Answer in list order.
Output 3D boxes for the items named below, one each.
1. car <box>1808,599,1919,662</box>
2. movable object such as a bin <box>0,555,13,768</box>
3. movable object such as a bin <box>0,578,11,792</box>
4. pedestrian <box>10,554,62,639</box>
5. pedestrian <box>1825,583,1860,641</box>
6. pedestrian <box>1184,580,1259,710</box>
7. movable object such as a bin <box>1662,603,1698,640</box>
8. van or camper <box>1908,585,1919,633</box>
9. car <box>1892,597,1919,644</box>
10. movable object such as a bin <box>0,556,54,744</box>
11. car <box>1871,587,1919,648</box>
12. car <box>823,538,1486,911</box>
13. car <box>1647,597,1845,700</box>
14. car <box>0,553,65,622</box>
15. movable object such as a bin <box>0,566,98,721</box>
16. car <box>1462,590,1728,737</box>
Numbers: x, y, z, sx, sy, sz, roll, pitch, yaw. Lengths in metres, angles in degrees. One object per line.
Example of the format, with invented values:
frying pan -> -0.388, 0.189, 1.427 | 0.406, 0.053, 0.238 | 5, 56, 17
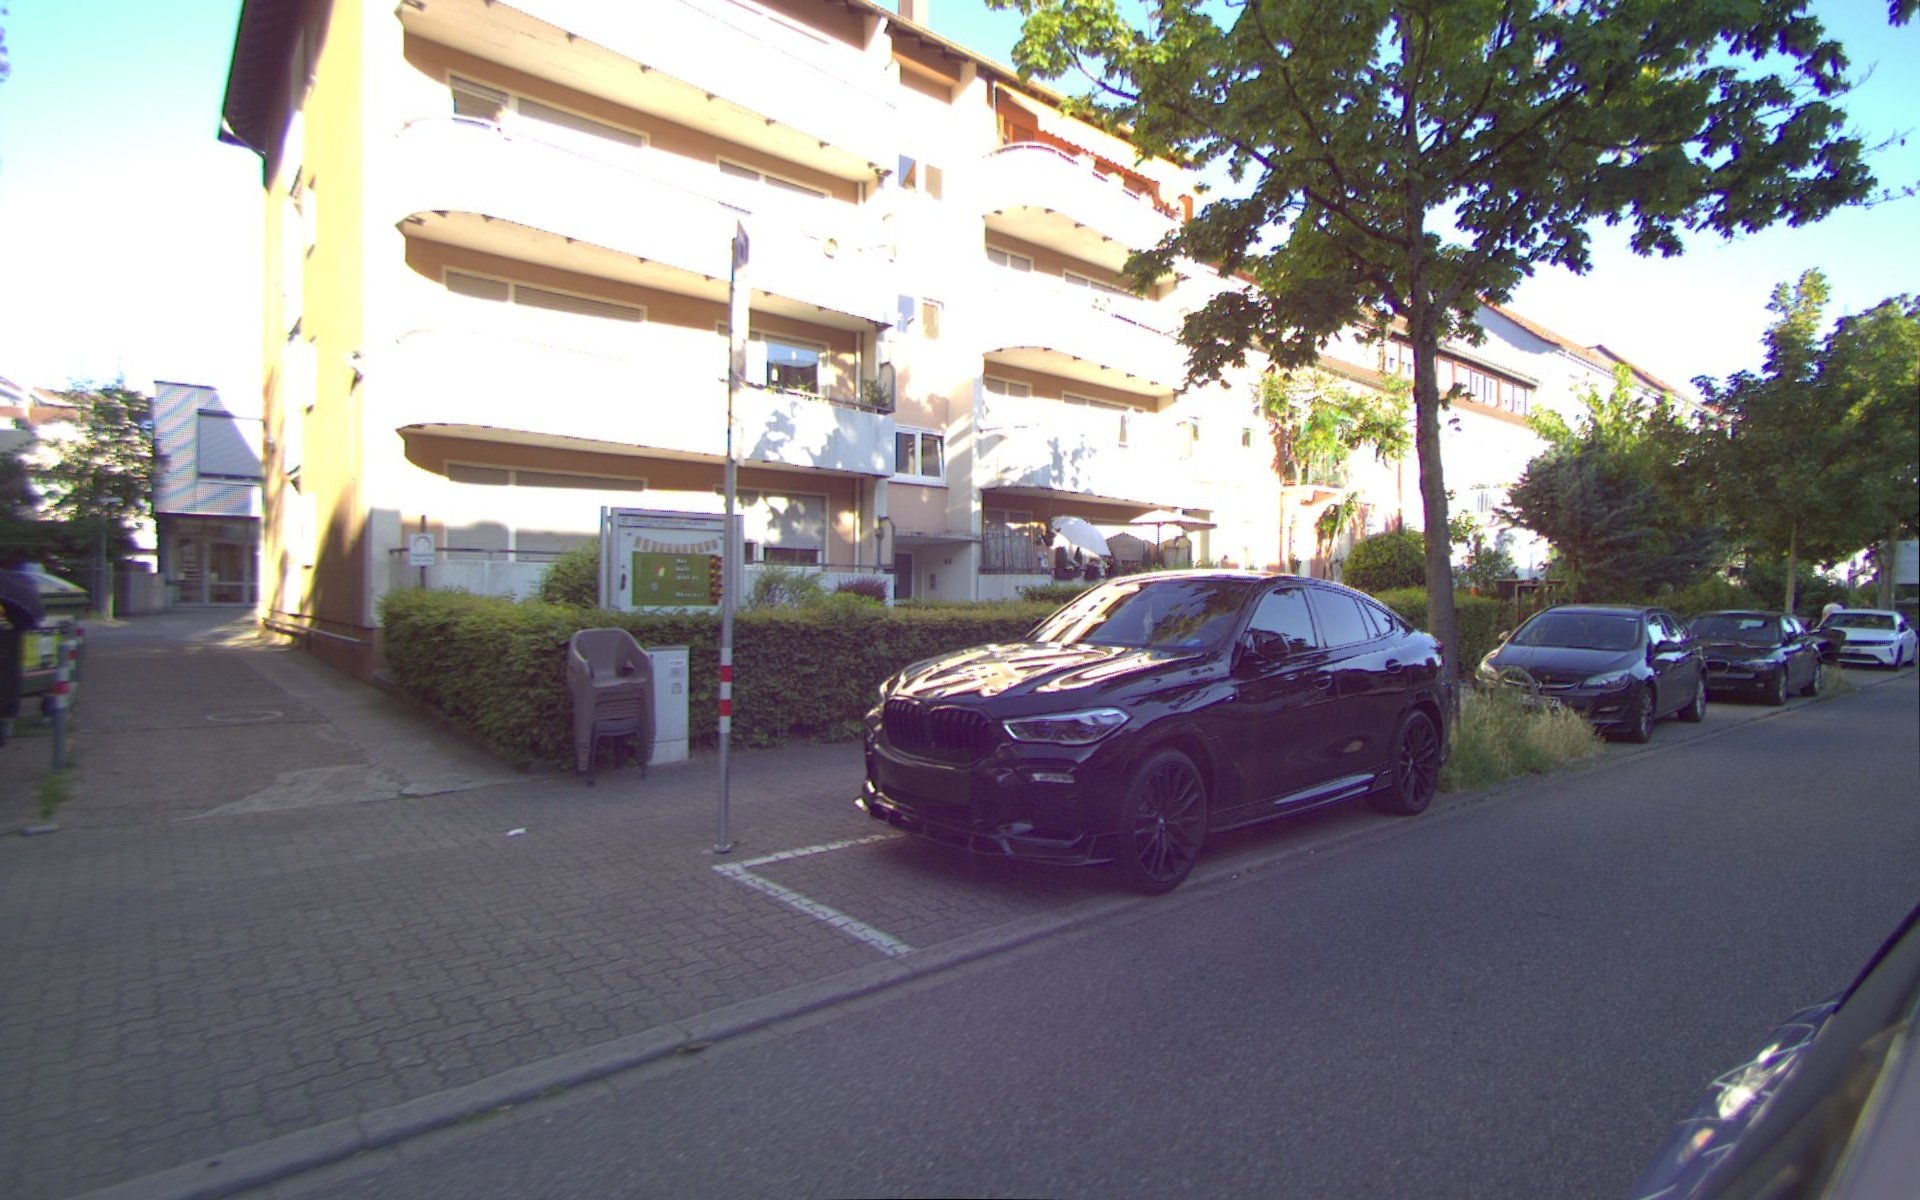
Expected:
car -> 22.925, 0.702, 25.439 | 4.257, 1.419, 1.765 | 0, 1, -41
movable object such as a bin -> -7.812, 0.447, 7.544 | 1.153, 1.575, 0.980 | 1, 0, 40
movable object such as a bin -> -6.779, 0.586, 6.267 | 0.974, 1.460, 1.259 | 0, 0, -26
pedestrian -> -19.725, -0.067, 21.614 | 0.767, 1.777, 0.639 | 0, -3, -38
pedestrian -> 28.501, 0.397, 32.670 | 0.751, 1.806, 0.669 | -2, -1, -41
pedestrian -> 3.396, 0.557, 13.143 | 0.570, 1.636, 0.747 | 0, 0, -42
movable object such as a bin -> 22.132, 0.655, 31.111 | 0.672, 1.071, 0.727 | 0, 3, -41
van or camper -> 39.271, 0.409, 40.037 | 5.165, 1.866, 1.997 | 2, -1, -40
car -> 32.630, 0.657, 33.646 | 4.743, 1.523, 1.788 | 0, 0, -39
movable object such as a bin -> -8.540, 0.409, 8.694 | 1.153, 1.575, 0.980 | 1, 0, 40
car -> 29.005, 0.504, 30.415 | 4.627, 1.702, 1.919 | 0, 2, -42
car -> 1.587, 0.542, 6.847 | 4.713, 1.676, 1.951 | 0, 1, -42
car -> 13.196, 0.707, 16.891 | 4.406, 1.467, 1.773 | 0, 1, -41
car -> -25.590, -0.358, 25.594 | 1.994, 1.686, 4.254 | 4, 2, 43
movable object such as a bin -> -9.440, 0.399, 9.997 | 0.974, 1.460, 1.145 | 1, 0, -12
car -> 8.038, 0.653, 12.640 | 4.356, 1.490, 1.719 | 0, 1, -43
